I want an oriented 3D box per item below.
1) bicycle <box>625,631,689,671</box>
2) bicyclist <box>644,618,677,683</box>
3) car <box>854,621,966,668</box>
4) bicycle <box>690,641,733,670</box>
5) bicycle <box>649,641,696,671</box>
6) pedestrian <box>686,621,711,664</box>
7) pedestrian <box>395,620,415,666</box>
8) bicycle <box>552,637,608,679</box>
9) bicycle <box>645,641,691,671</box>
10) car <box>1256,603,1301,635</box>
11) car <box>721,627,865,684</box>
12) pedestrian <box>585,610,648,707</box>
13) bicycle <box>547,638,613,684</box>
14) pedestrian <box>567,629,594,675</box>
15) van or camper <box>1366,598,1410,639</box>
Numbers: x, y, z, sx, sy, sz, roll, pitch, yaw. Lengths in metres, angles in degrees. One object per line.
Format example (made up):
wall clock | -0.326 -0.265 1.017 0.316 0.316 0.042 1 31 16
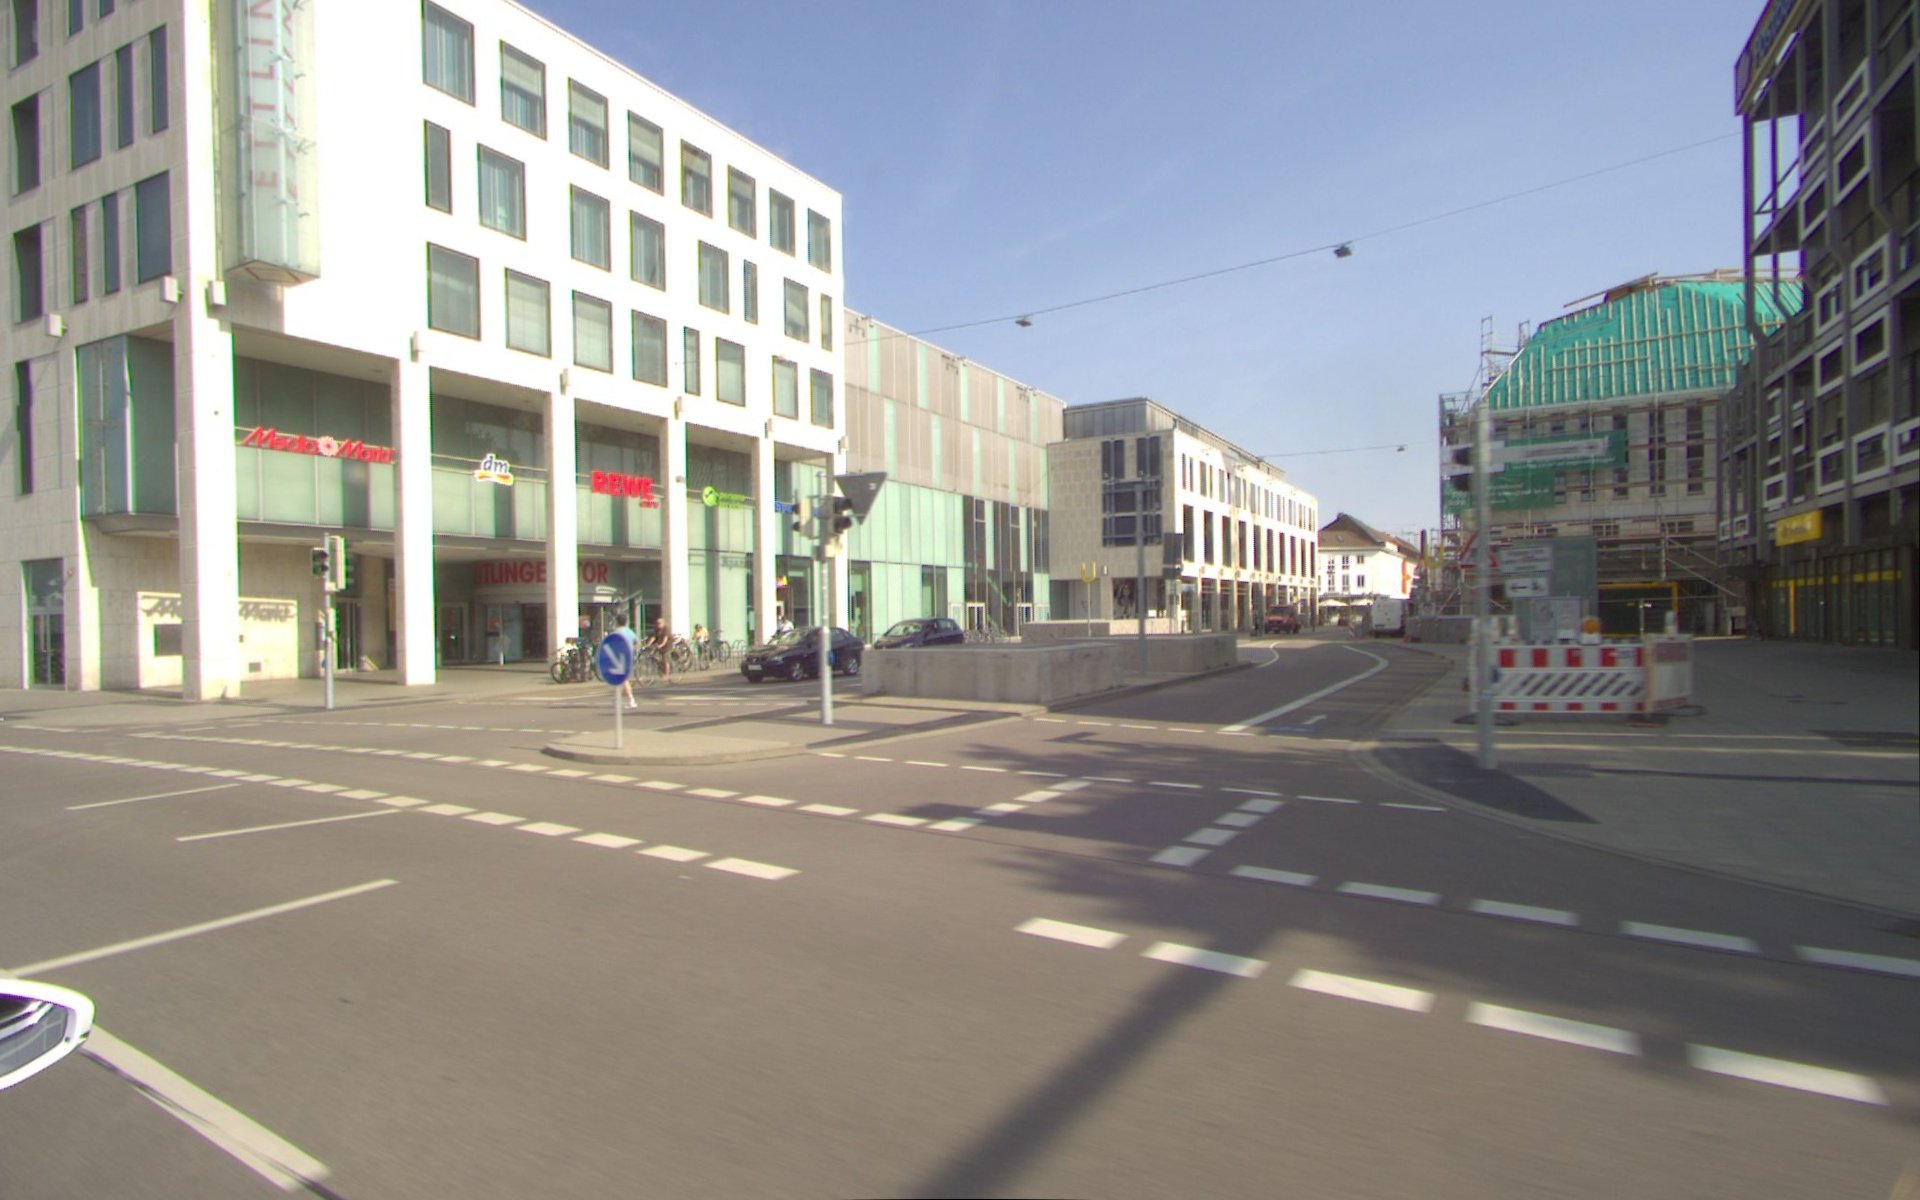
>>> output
bicycle | -8.307 1.390 27.523 0.602 1.030 1.801 -1 -1 27
bicyclist | -8.259 1.374 27.604 0.573 1.760 0.634 -1 0 27
car | -1.576 1.423 33.019 1.852 1.420 3.894 -1 -1 31
bicycle | -8.551 1.898 34.436 1.648 0.969 0.457 -1 -1 36
bicycle | -9.484 1.832 32.980 1.832 0.969 0.457 -1 -1 37
pedestrian | -9.221 1.482 35.349 0.724 1.505 0.602 -1 0 -3
pedestrian | -20.862 1.602 37.625 0.496 1.700 0.455 -1 0 -8
bicycle | -11.350 1.715 29.879 1.764 1.215 0.500 -1 0 26
bicycle | -9.906 1.879 33.928 1.832 0.969 0.457 -1 -1 37
car | 25.455 1.578 79.939 2.389 2.440 4.989 -1 -3 29
car | -4.532 1.490 27.694 1.850 1.384 3.886 -2 -1 31
pedestrian | -6.353 1.060 18.503 0.976 1.733 0.641 -1 0 35
bicycle | -10.970 1.745 28.890 2.039 1.253 0.612 -1 -1 29
pedestrian | -11.515 1.586 30.368 0.538 1.374 0.512 -1 0 20
van or camper | 27.043 1.158 63.129 1.970 2.441 5.121 -1 -1 30
